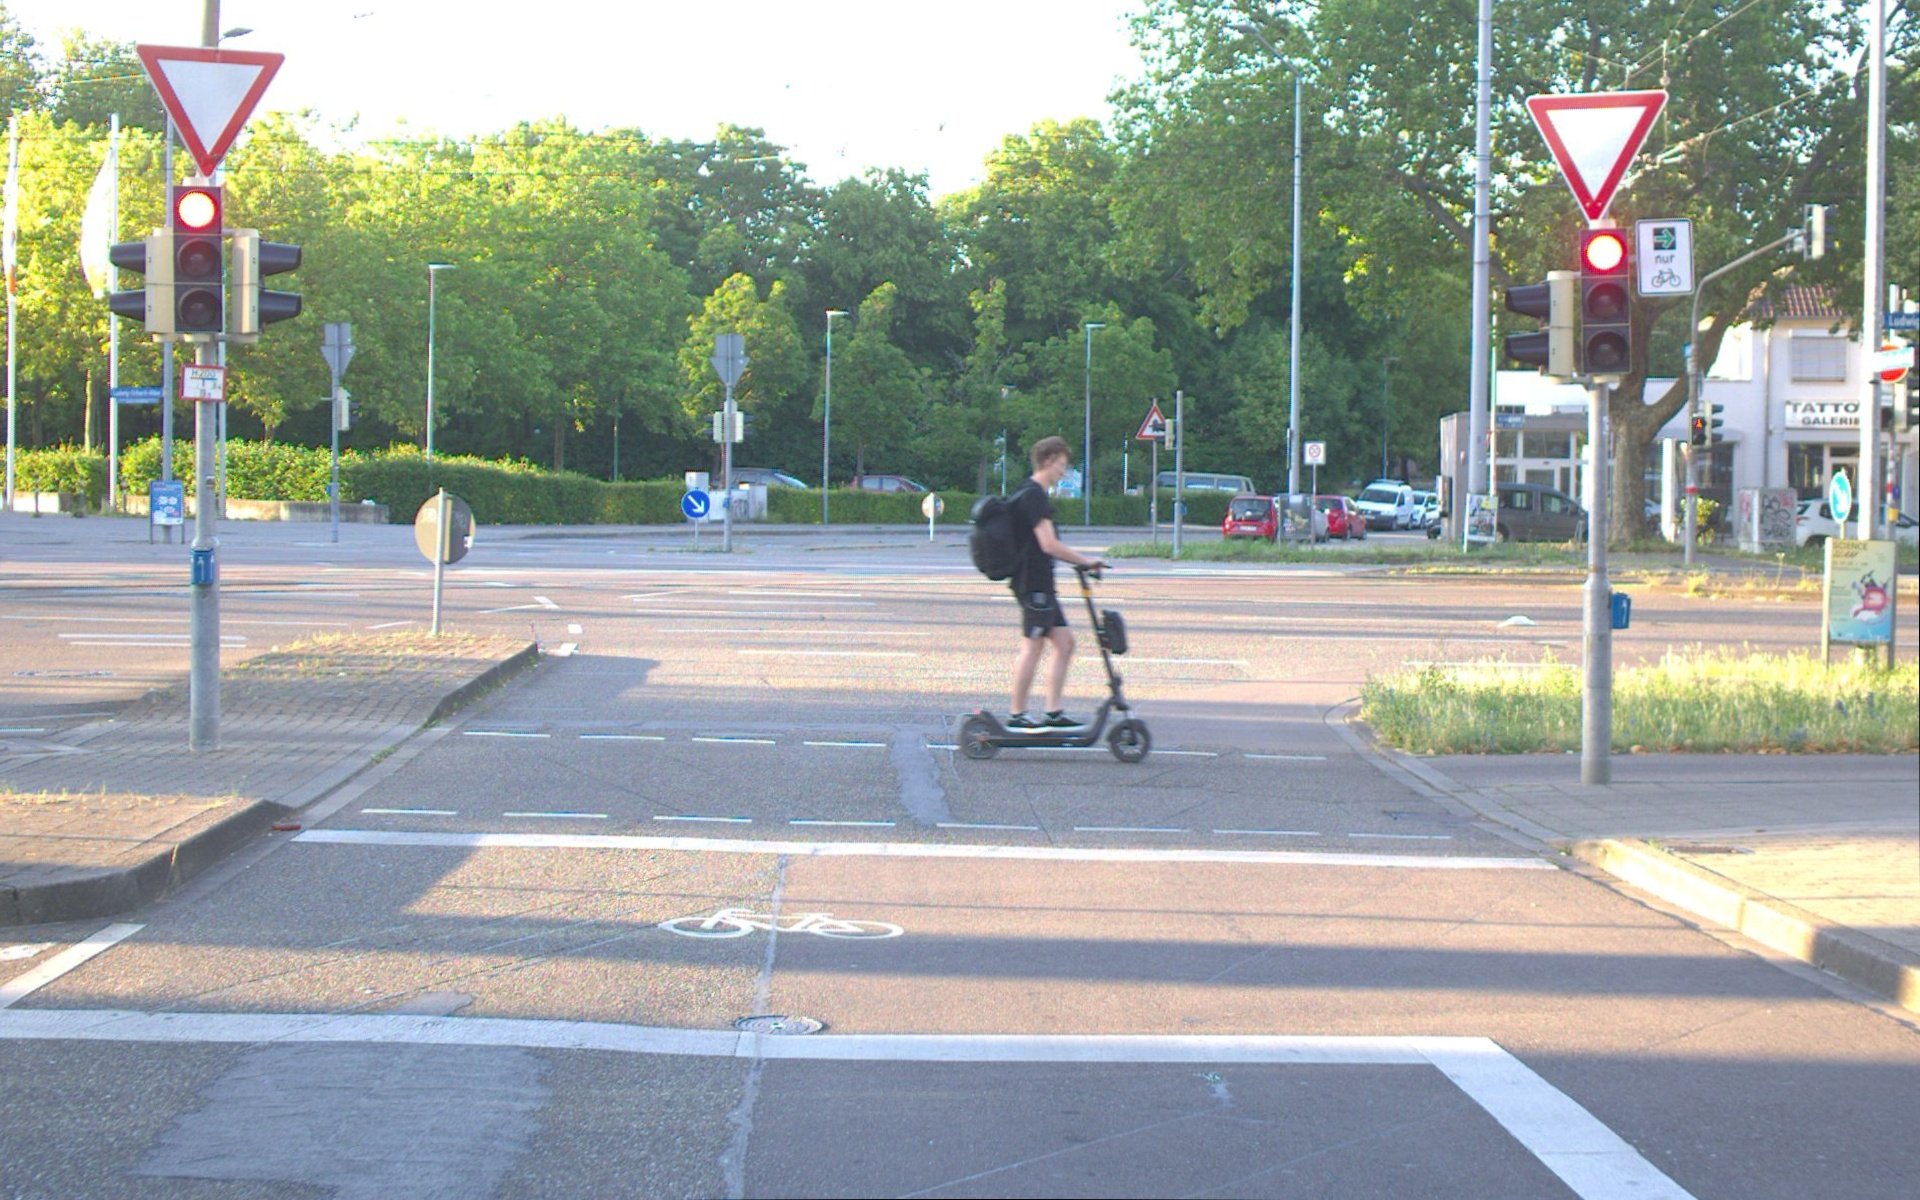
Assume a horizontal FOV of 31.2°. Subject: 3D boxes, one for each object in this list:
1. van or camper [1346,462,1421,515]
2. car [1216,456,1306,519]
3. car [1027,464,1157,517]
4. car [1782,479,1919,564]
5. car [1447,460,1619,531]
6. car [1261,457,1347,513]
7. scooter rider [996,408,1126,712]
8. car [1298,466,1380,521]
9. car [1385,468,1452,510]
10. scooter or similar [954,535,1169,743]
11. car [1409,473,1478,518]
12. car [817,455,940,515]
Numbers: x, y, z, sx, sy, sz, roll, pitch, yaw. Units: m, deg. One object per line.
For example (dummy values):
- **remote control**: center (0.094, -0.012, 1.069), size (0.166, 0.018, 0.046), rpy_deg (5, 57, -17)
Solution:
- **van or camper**: center (16.746, -4.428, 135.839), size (1.627, 1.975, 3.801), rpy_deg (3, 4, 29)
- **car**: center (8.844, -3.319, 100.831), size (1.499, 1.754, 3.399), rpy_deg (2, 4, 26)
- **car**: center (4.902, -4.071, 127.696), size (4.685, 1.862, 2.013), rpy_deg (1, 3, 6)
- **car**: center (21.027, -1.768, 77.613), size (4.467, 1.810, 1.945), rpy_deg (1, 3, 1)
- **car**: center (15.649, -2.878, 94.130), size (4.468, 1.810, 1.945), rpy_deg (1, 3, 5)
- **car**: center (10.457, -3.506, 104.433), size (1.499, 1.600, 3.399), rpy_deg (2, 4, 26)
- **scooter rider**: center (0.593, -0.245, 20.368), size (0.705, 1.776, 0.443), rpy_deg (0, 3, -4)
- **car**: center (11.939, -3.365, 108.208), size (1.499, 1.600, 3.399), rpy_deg (2, 4, 26)
- **car**: center (18.616, -4.525, 139.560), size (1.499, 1.600, 3.398), rpy_deg (3, 4, 29)
- **scooter or similar**: center (0.595, 0.226, 20.389), size (1.213, 1.196, 0.503), rpy_deg (0, 3, -5)
- **car**: center (16.858, -3.647, 119.833), size (1.499, 1.472, 3.080), rpy_deg (2, 4, 26)
- **car**: center (-2.705, -3.835, 114.154), size (4.062, 1.898, 1.788), rpy_deg (1, 3, -1)
